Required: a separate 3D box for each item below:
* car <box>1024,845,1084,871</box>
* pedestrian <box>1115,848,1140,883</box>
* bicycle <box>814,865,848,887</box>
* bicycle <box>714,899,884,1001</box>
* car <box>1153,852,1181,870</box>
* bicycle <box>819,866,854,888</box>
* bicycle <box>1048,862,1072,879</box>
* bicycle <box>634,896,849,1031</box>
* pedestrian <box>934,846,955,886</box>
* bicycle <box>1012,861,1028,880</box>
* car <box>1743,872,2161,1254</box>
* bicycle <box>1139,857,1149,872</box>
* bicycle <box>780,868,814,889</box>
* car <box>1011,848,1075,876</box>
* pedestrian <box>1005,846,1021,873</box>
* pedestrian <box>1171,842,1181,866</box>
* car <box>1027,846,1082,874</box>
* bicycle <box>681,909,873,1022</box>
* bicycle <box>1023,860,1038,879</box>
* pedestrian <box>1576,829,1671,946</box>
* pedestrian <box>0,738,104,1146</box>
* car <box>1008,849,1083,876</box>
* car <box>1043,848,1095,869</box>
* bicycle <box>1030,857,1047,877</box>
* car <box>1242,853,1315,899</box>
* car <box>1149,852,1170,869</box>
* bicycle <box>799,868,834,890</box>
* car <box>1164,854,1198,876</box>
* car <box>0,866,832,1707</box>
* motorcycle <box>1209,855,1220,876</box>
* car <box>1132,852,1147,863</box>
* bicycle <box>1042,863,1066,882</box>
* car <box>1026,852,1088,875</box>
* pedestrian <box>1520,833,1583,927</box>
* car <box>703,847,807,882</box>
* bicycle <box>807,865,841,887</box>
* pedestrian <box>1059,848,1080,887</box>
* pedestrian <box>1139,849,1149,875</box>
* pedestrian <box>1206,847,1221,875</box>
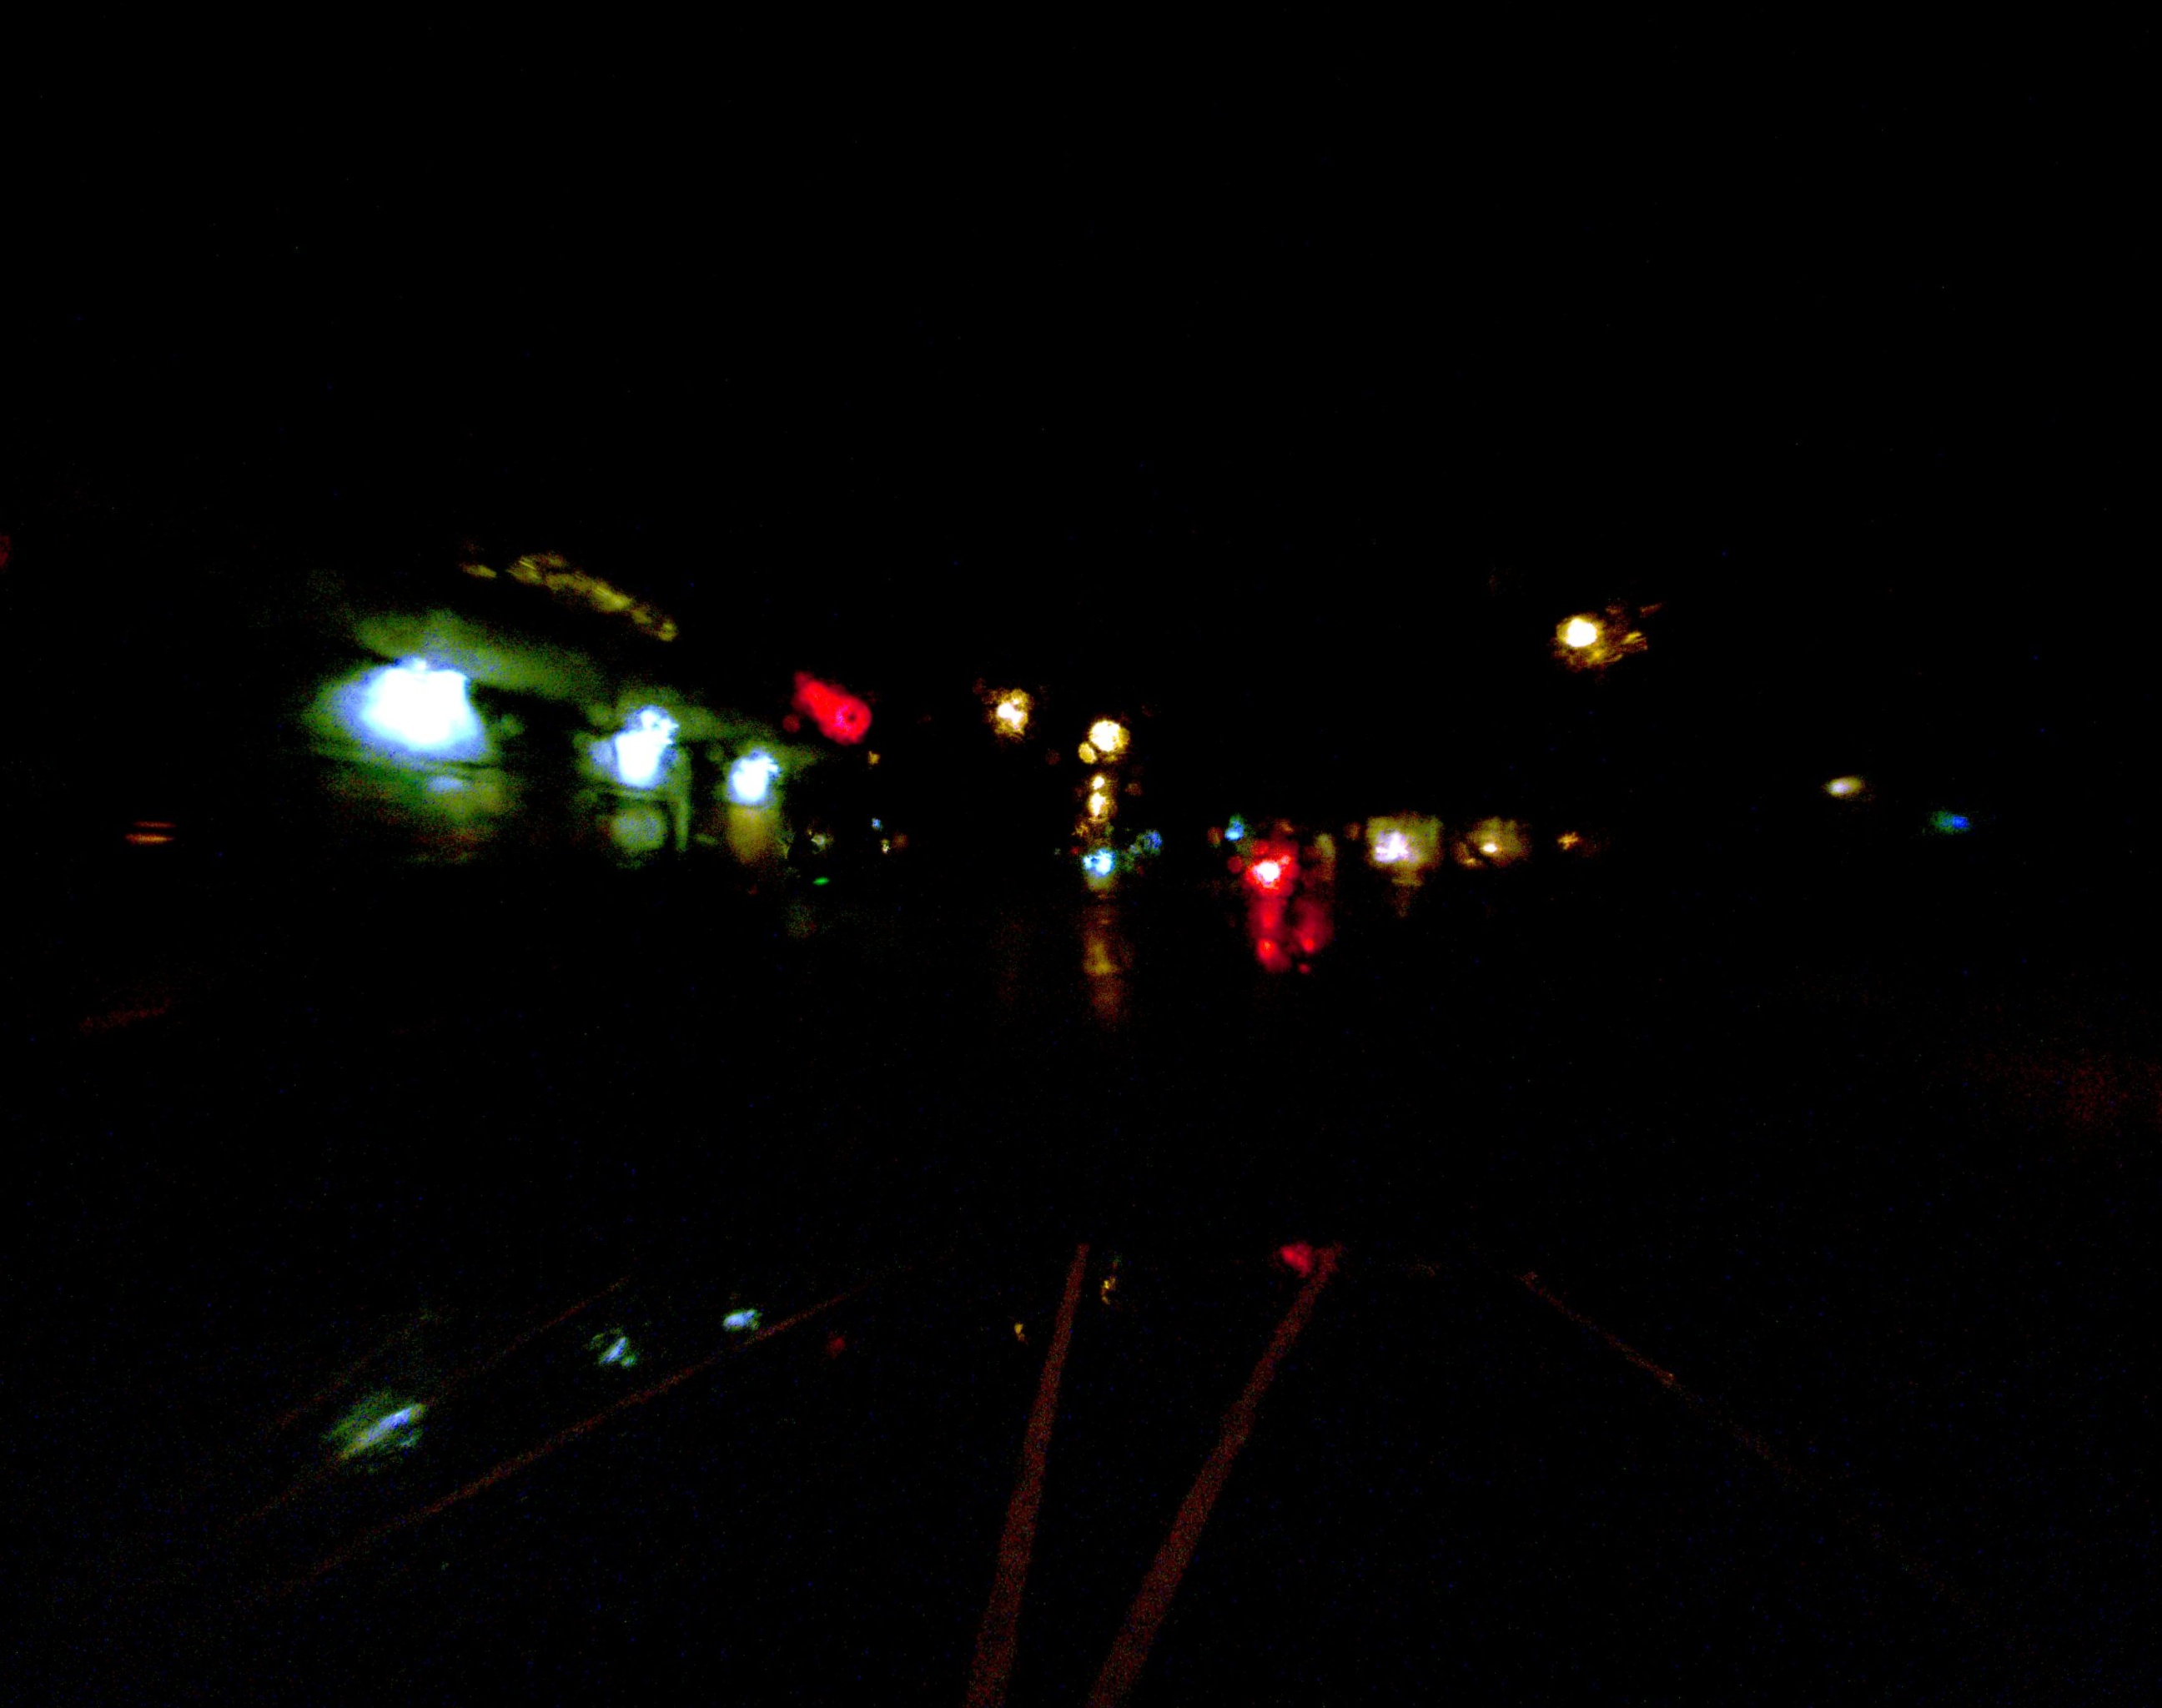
[{"bbox_3d":[-1.845,0.254,52.449,3.801,1.702,1.744,1,0,-34],"label":"car"},{"bbox_3d":[2.459,0.609,40.031,0.876,1.823,0.986,0,1,37],"label":"pedestrian"},{"bbox_3d":[-12.004,1.053,36.529,0.402,1.003,1.813,0,0,26],"label":"bicycle"},{"bbox_3d":[-3.211,1.095,8.733,1.787,1.118,0.435,0,0,-1],"label":"bicycle"},{"bbox_3d":[7.268,0.583,64.273,1.721,1.470,4.159,-1,0,-2],"label":"car"},{"bbox_3d":[-11.601,1.063,36.093,0.454,1.003,1.813,0,0,26],"label":"bicycle"},{"bbox_3d":[-1.244,0.970,44.721,1.641,1.020,0.337,0,0,45],"label":"bicycle"},{"bbox_3d":[-3.161,1.009,7.156,1.766,1.118,0.435,3,0,-1],"label":"bicycle"},{"bbox_3d":[-6.370,0.570,35.514,0.676,1.822,1.078,-2,1,3],"label":"pedestrian"},{"bbox_3d":[-3.513,0.950,43.646,0.336,1.020,1.642,1,1,-25],"label":"bicycle"},{"bbox_3d":[5.260,0.897,3.113,1.590,1.455,4.024,-4,0,1],"label":"car"},{"bbox_3d":[4.555,0.748,54.956,0.714,1.053,1.802,0,0,4],"label":"bicycle"},{"bbox_3d":[-14.089,1.182,37.751,0.402,1.003,1.813,0,0,26],"label":"bicycle"},{"bbox_3d":[-2.456,0.523,49.620,3.747,1.702,1.767,1,0,-34],"label":"car"},{"bbox_3d":[-4.820,0.380,53.646,0.789,1.807,0.812,1,2,26],"label":"pedestrian"},{"bbox_3d":[8.840,-0.004,70.837,0.801,2.228,1.116,0,1,0],"label":"pedestrian"},{"bbox_3d":[-2.007,0.454,57.940,3.747,2.017,1.717,1,0,-34],"label":"car"},{"bbox_3d":[-3.054,1.112,7.713,1.766,1.073,0.435,0,0,-1],"label":"bicycle"},{"bbox_3d":[-2.925,0.907,43.867,0.336,1.086,1.643,1,-1,-25],"label":"bicycle"},{"bbox_3d":[8.584,0.507,12.074,0.805,1.756,1.016,-2,1,7],"label":"pedestrian"},{"bbox_3d":[-6.333,0.467,4.019,1.056,2.196,0.970,1,1,1],"label":"pedestrian"},{"bbox_3d":[-2.204,0.505,46.931,4.270,1.564,1.768,1,0,-27],"label":"car"},{"bbox_3d":[-1.155,0.487,74.922,4.719,1.968,1.975,1,0,-28],"label":"car"},{"bbox_3d":[-2.490,0.747,44.181,0.336,1.021,1.641,-2,4,-29],"label":"bicycle"},{"bbox_3d":[6.743,0.705,26.372,1.567,1.419,4.069,0,1,2],"label":"car"},{"bbox_3d":[7.175,0.567,69.641,1.720,1.470,3.786,-2,0,3],"label":"car"},{"bbox_3d":[-12.912,1.211,37.132,0.402,1.003,1.813,-2,1,26],"label":"bicycle"},{"bbox_3d":[7.006,0.729,53.679,1.851,1.470,5.031,-1,0,1],"label":"car"},{"bbox_3d":[-2.627,0.923,3.187,1.757,1.557,4.153,-2,1,0],"label":"car"},{"bbox_3d":[9.683,0.797,55.086,0.538,1.462,1.457,-2,1,1],"label":"motorcycle"},{"bbox_3d":[7.884,0.450,102.731,1.851,1.470,3.735,-2,0,1],"label":"car"},{"bbox_3d":[-1.595,1.056,44.395,0.337,1.020,1.641,1,2,-43],"label":"bicycle"},{"bbox_3d":[-1.739,0.696,55.174,4.080,1.588,1.829,1,0,-34],"label":"car"},{"bbox_3d":[9.687,0.514,15.681,0.797,1.847,0.947,2,1,14],"label":"pedestrian"},{"bbox_3d":[-17.412,0.546,40.907,1.995,1.752,5.105,-1,0,24],"label":"car"},{"bbox_3d":[-12.455,1.066,36.870,0.378,1.003,1.813,0,0,26],"label":"bicycle"},{"bbox_3d":[-0.555,0.627,37.059,0.958,1.852,1.415,0,0,0],"label":"pedestrian"},{"bbox_3d":[4.548,0.580,54.950,0.714,1.801,1.126,0,0,4],"label":"pedestrian"},{"bbox_3d":[8.504,0.460,48.736,0.827,1.761,0.600,-1,1,13],"label":"pedestrian"}]
